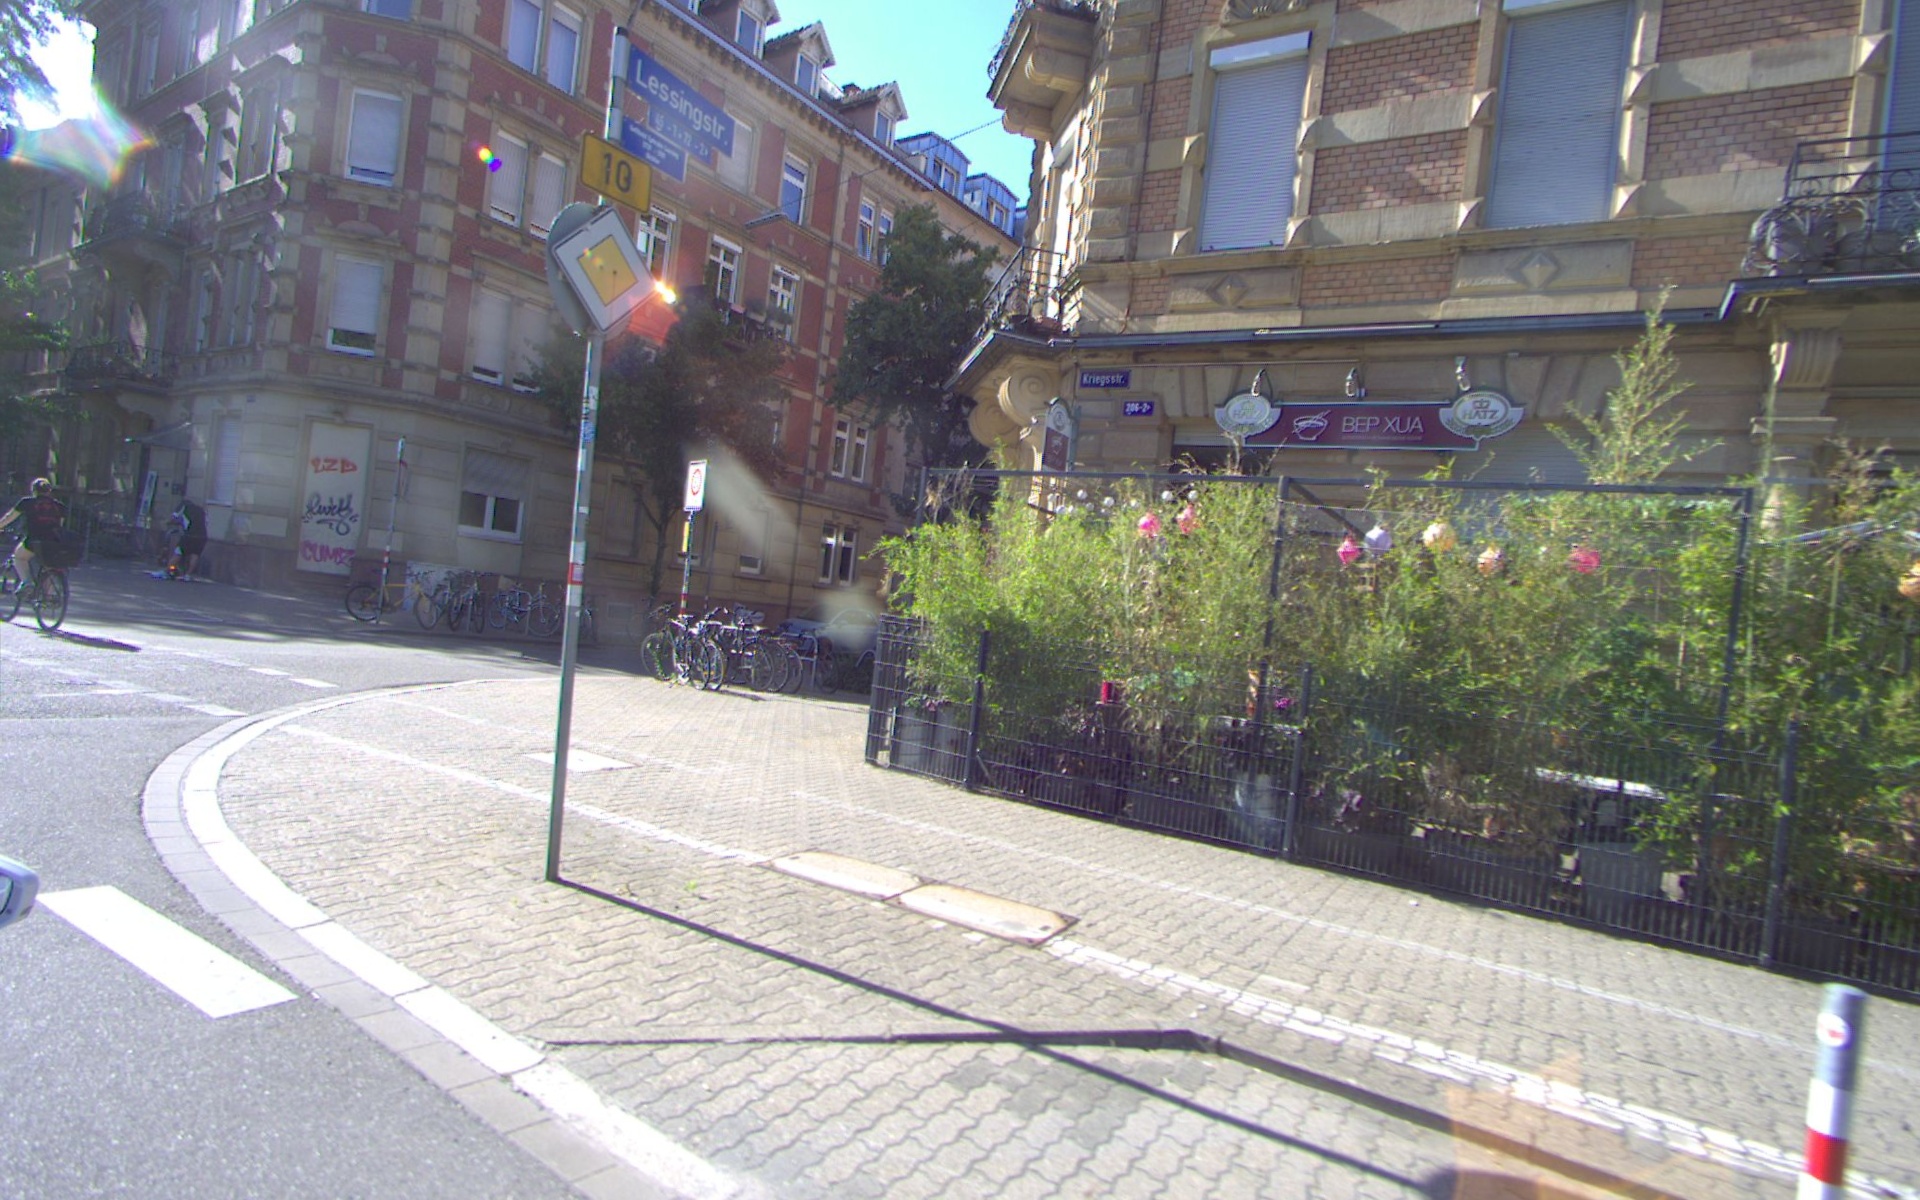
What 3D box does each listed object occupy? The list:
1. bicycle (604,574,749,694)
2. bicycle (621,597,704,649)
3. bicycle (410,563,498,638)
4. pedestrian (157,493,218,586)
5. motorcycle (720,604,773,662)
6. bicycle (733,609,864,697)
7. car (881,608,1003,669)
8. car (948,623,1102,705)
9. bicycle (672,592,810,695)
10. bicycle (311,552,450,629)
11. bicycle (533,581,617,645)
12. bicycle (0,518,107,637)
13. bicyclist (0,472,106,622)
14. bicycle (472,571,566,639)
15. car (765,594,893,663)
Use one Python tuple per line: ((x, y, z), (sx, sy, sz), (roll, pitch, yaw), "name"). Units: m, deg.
((-3.963, 0.451, 13.970), (2.033, 1.414, 0.579), (7, 0, 32), "bicycle")
((-6.812, 0.551, 23.143), (0.552, 1.002, 1.836), (12, 2, 28), "bicycle")
((-9.770, 0.001, 19.379), (1.940, 1.108, 0.579), (11, 1, 37), "bicycle")
((-16.015, -1.246, 20.852), (0.740, 1.836, 0.656), (4, -2, 35), "pedestrian")
((-5.466, 0.842, 25.634), (0.985, 1.299, 2.407), (6, -3, -18), "motorcycle")
((-2.556, 0.823, 15.782), (2.033, 1.108, 0.579), (7, 0, 32), "bicycle")
((-0.494, 1.257, 31.947), (1.540, 1.527, 4.228), (3, -4, 36), "car")
((1.488, 1.432, 22.029), (1.692, 1.450, 3.397), (5, -3, 37), "car")
((-3.242, 0.624, 14.801), (2.033, 1.250, 0.579), (7, 0, 32), "bicycle")
((-10.369, -0.161, 18.067), (1.940, 1.108, 0.693), (7, 0, -14), "bicycle")
((-8.325, 0.260, 21.731), (2.000, 1.145, 0.560), (7, 0, 35), "bicycle")
((-11.007, -0.292, 11.945), (1.927, 1.235, 0.741), (7, 2, 32), "bicycle")
((-10.905, -0.636, 11.925), (1.082, 1.599, 0.743), (8, 0, 32), "bicyclist")
((-9.036, 0.086, 20.584), (2.000, 1.145, 0.727), (7, 0, 35), "bicycle")
((-3.560, 0.824, 27.767), (1.540, 1.486, 3.244), (7, -1, 37), "car")
